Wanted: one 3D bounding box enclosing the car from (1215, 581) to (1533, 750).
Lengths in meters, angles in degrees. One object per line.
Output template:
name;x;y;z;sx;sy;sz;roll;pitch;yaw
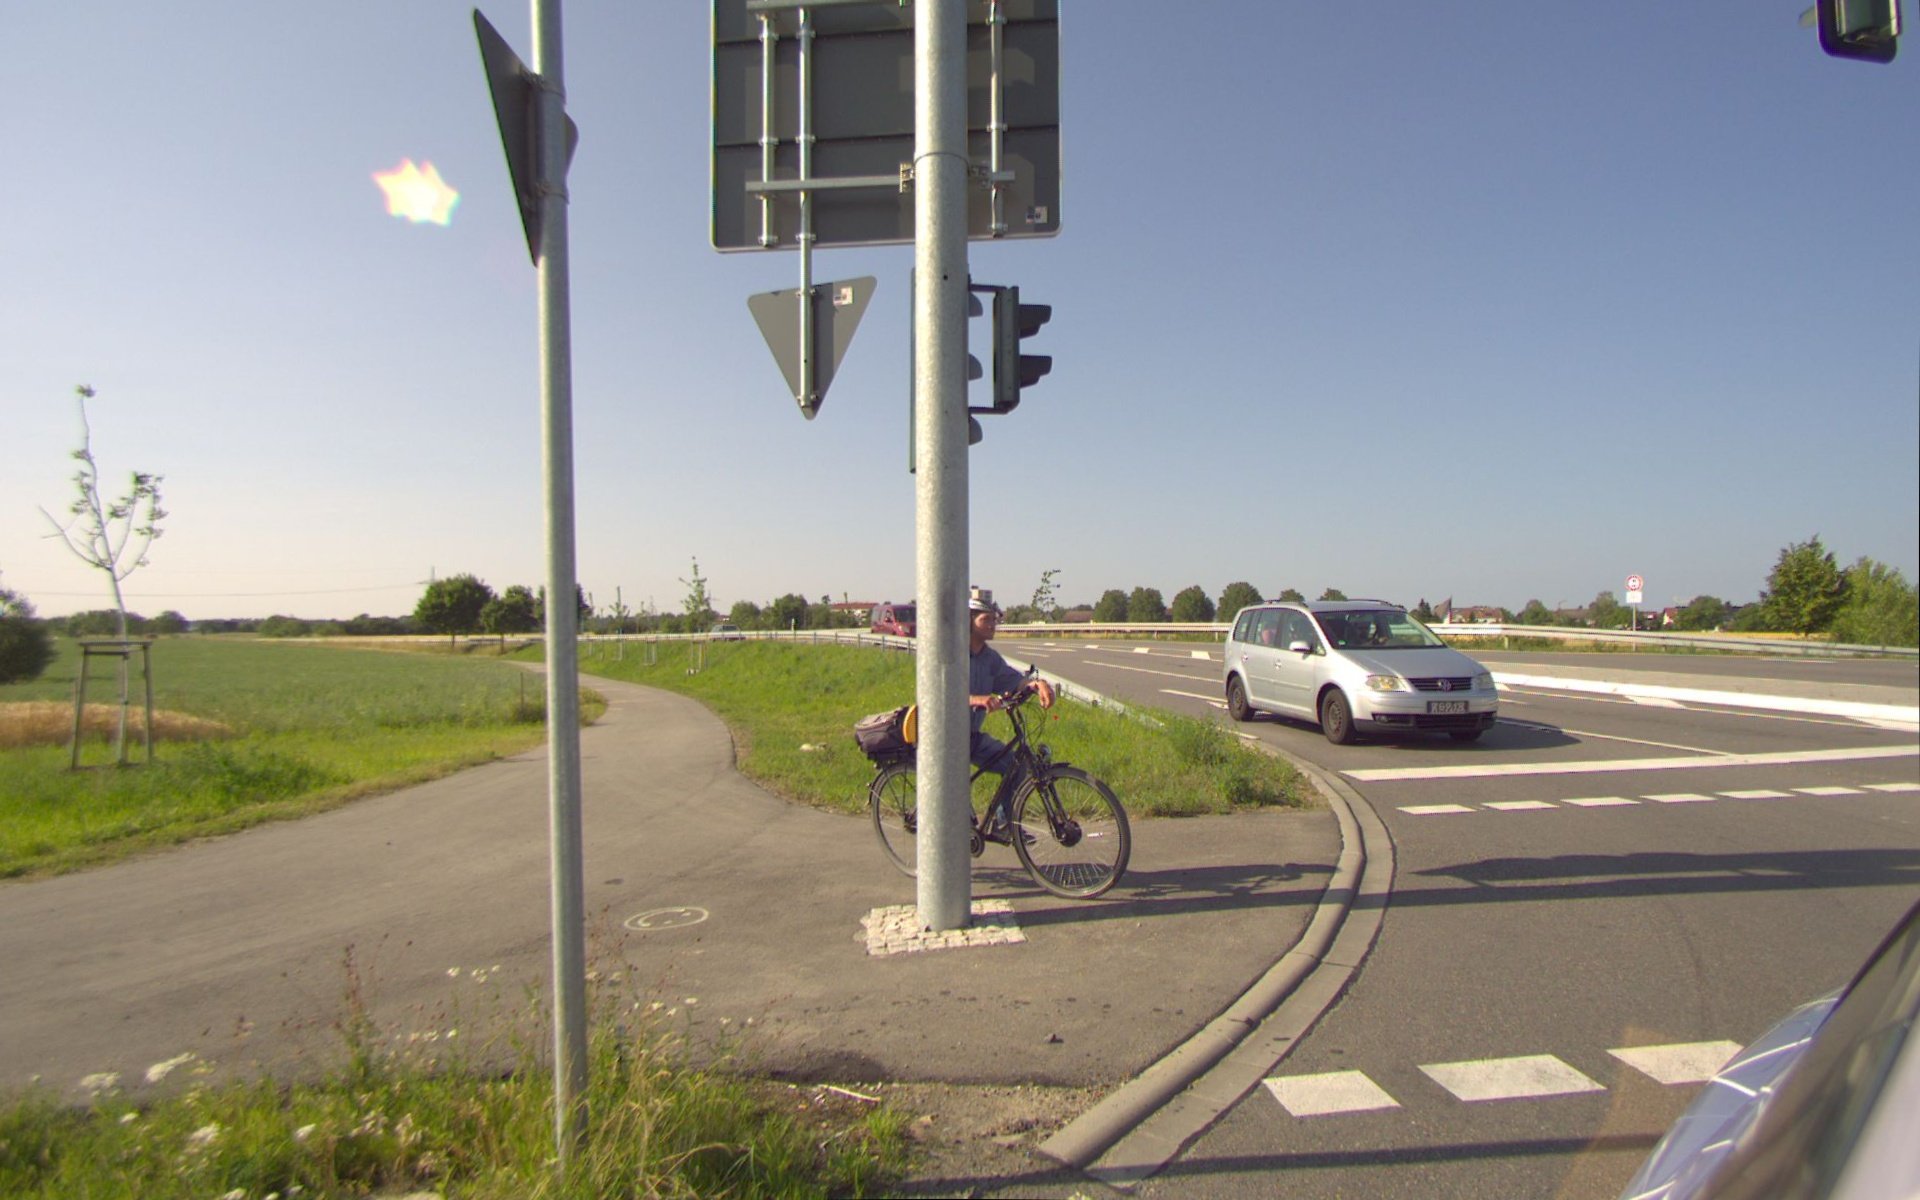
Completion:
car;4.845;0.688;12.607;1.720;1.716;4.220;-1;-1;-8

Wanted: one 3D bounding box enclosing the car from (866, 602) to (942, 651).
car;-2.365;1.088;41.432;1.658;1.861;4.706;0;-1;-22

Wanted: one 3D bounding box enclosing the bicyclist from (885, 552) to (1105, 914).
bicyclist;0.186;0.680;5.529;0.911;1.788;0.612;-5;-3;35

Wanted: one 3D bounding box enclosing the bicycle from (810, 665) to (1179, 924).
bicycle;0.135;1.002;5.604;1.932;1.166;0.673;-5;-2;35
